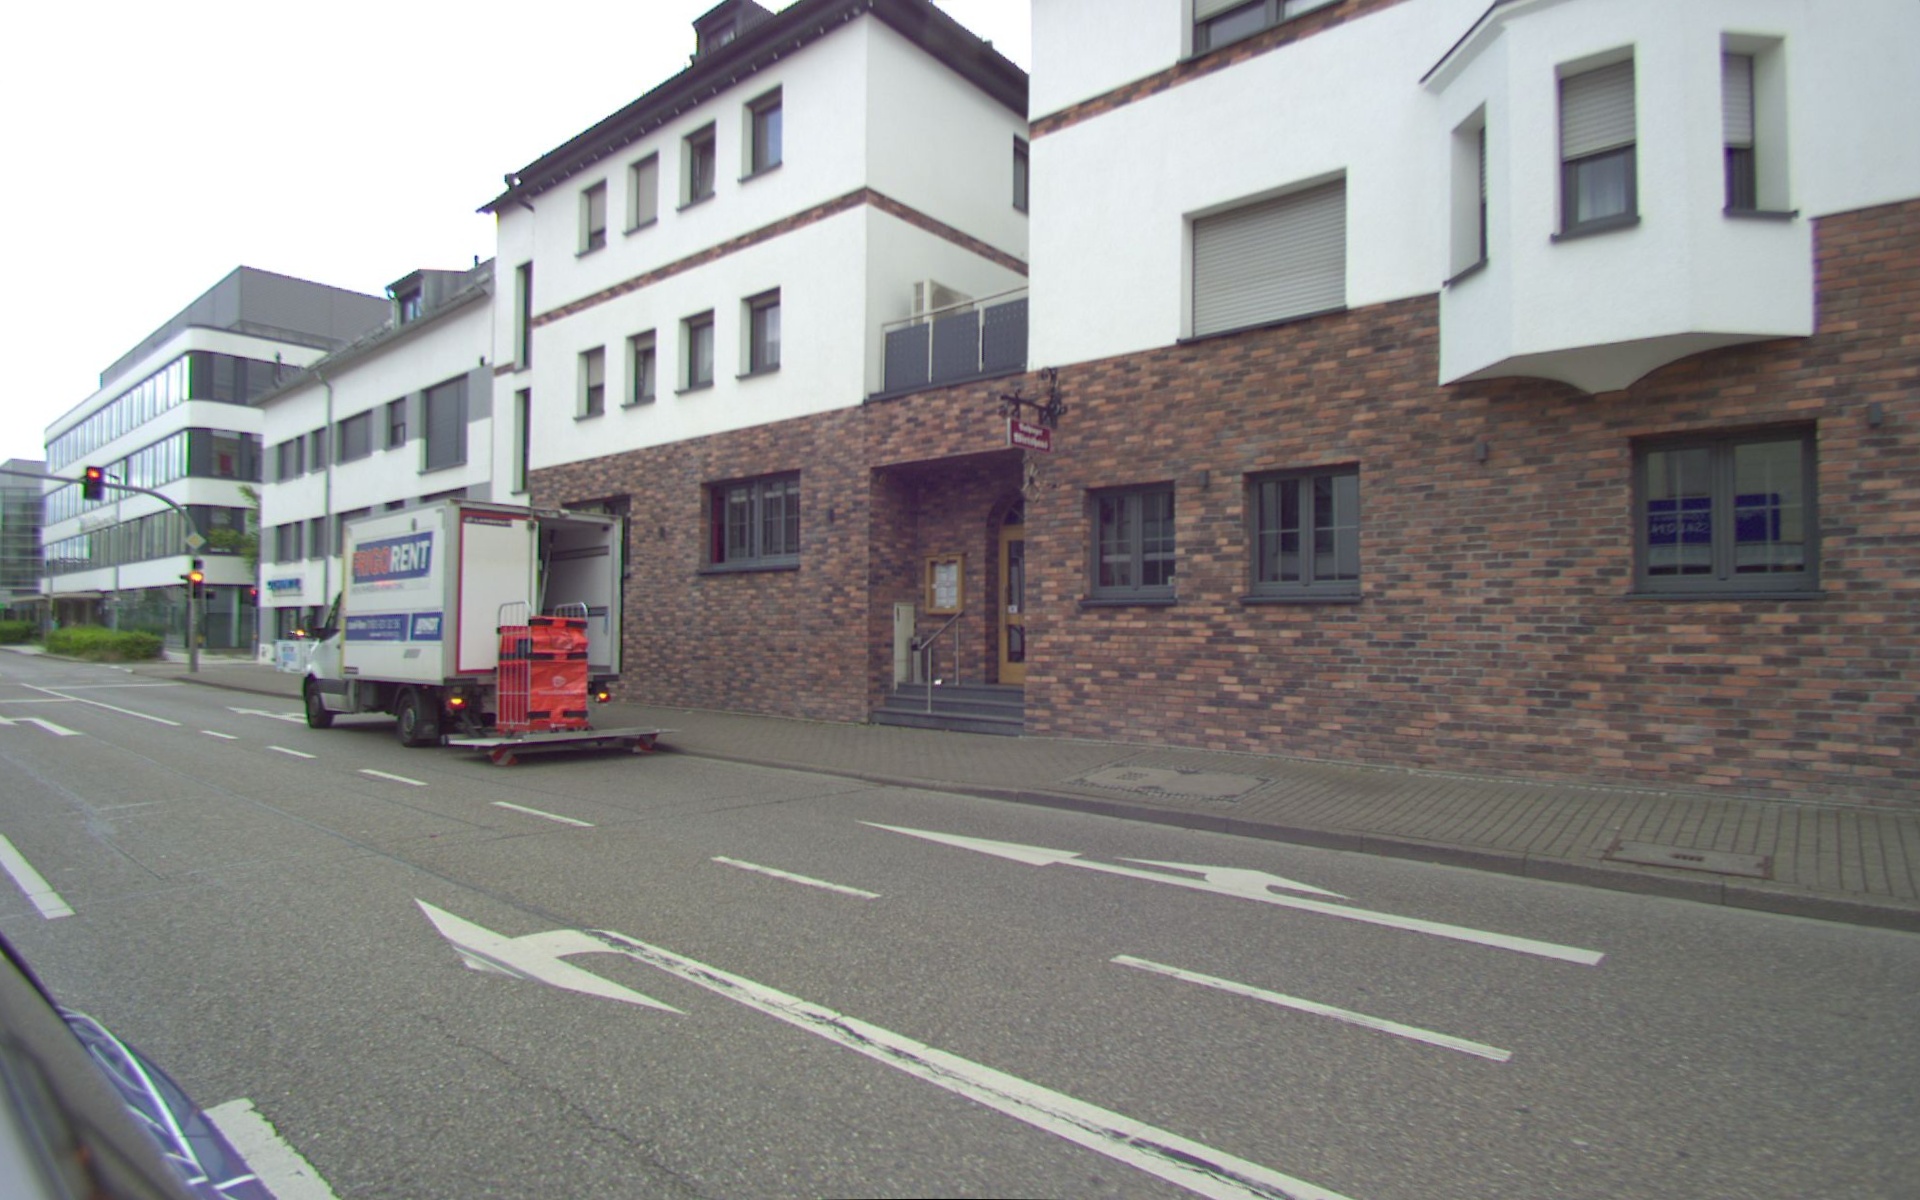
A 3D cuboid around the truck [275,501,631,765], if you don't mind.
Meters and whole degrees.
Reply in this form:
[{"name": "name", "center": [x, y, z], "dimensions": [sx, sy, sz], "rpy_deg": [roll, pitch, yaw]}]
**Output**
[{"name": "truck", "center": [-7.373, 0.423, 14.350], "dimensions": [5.961, 2.993, 2.437], "rpy_deg": [-1, -1, 41]}]
